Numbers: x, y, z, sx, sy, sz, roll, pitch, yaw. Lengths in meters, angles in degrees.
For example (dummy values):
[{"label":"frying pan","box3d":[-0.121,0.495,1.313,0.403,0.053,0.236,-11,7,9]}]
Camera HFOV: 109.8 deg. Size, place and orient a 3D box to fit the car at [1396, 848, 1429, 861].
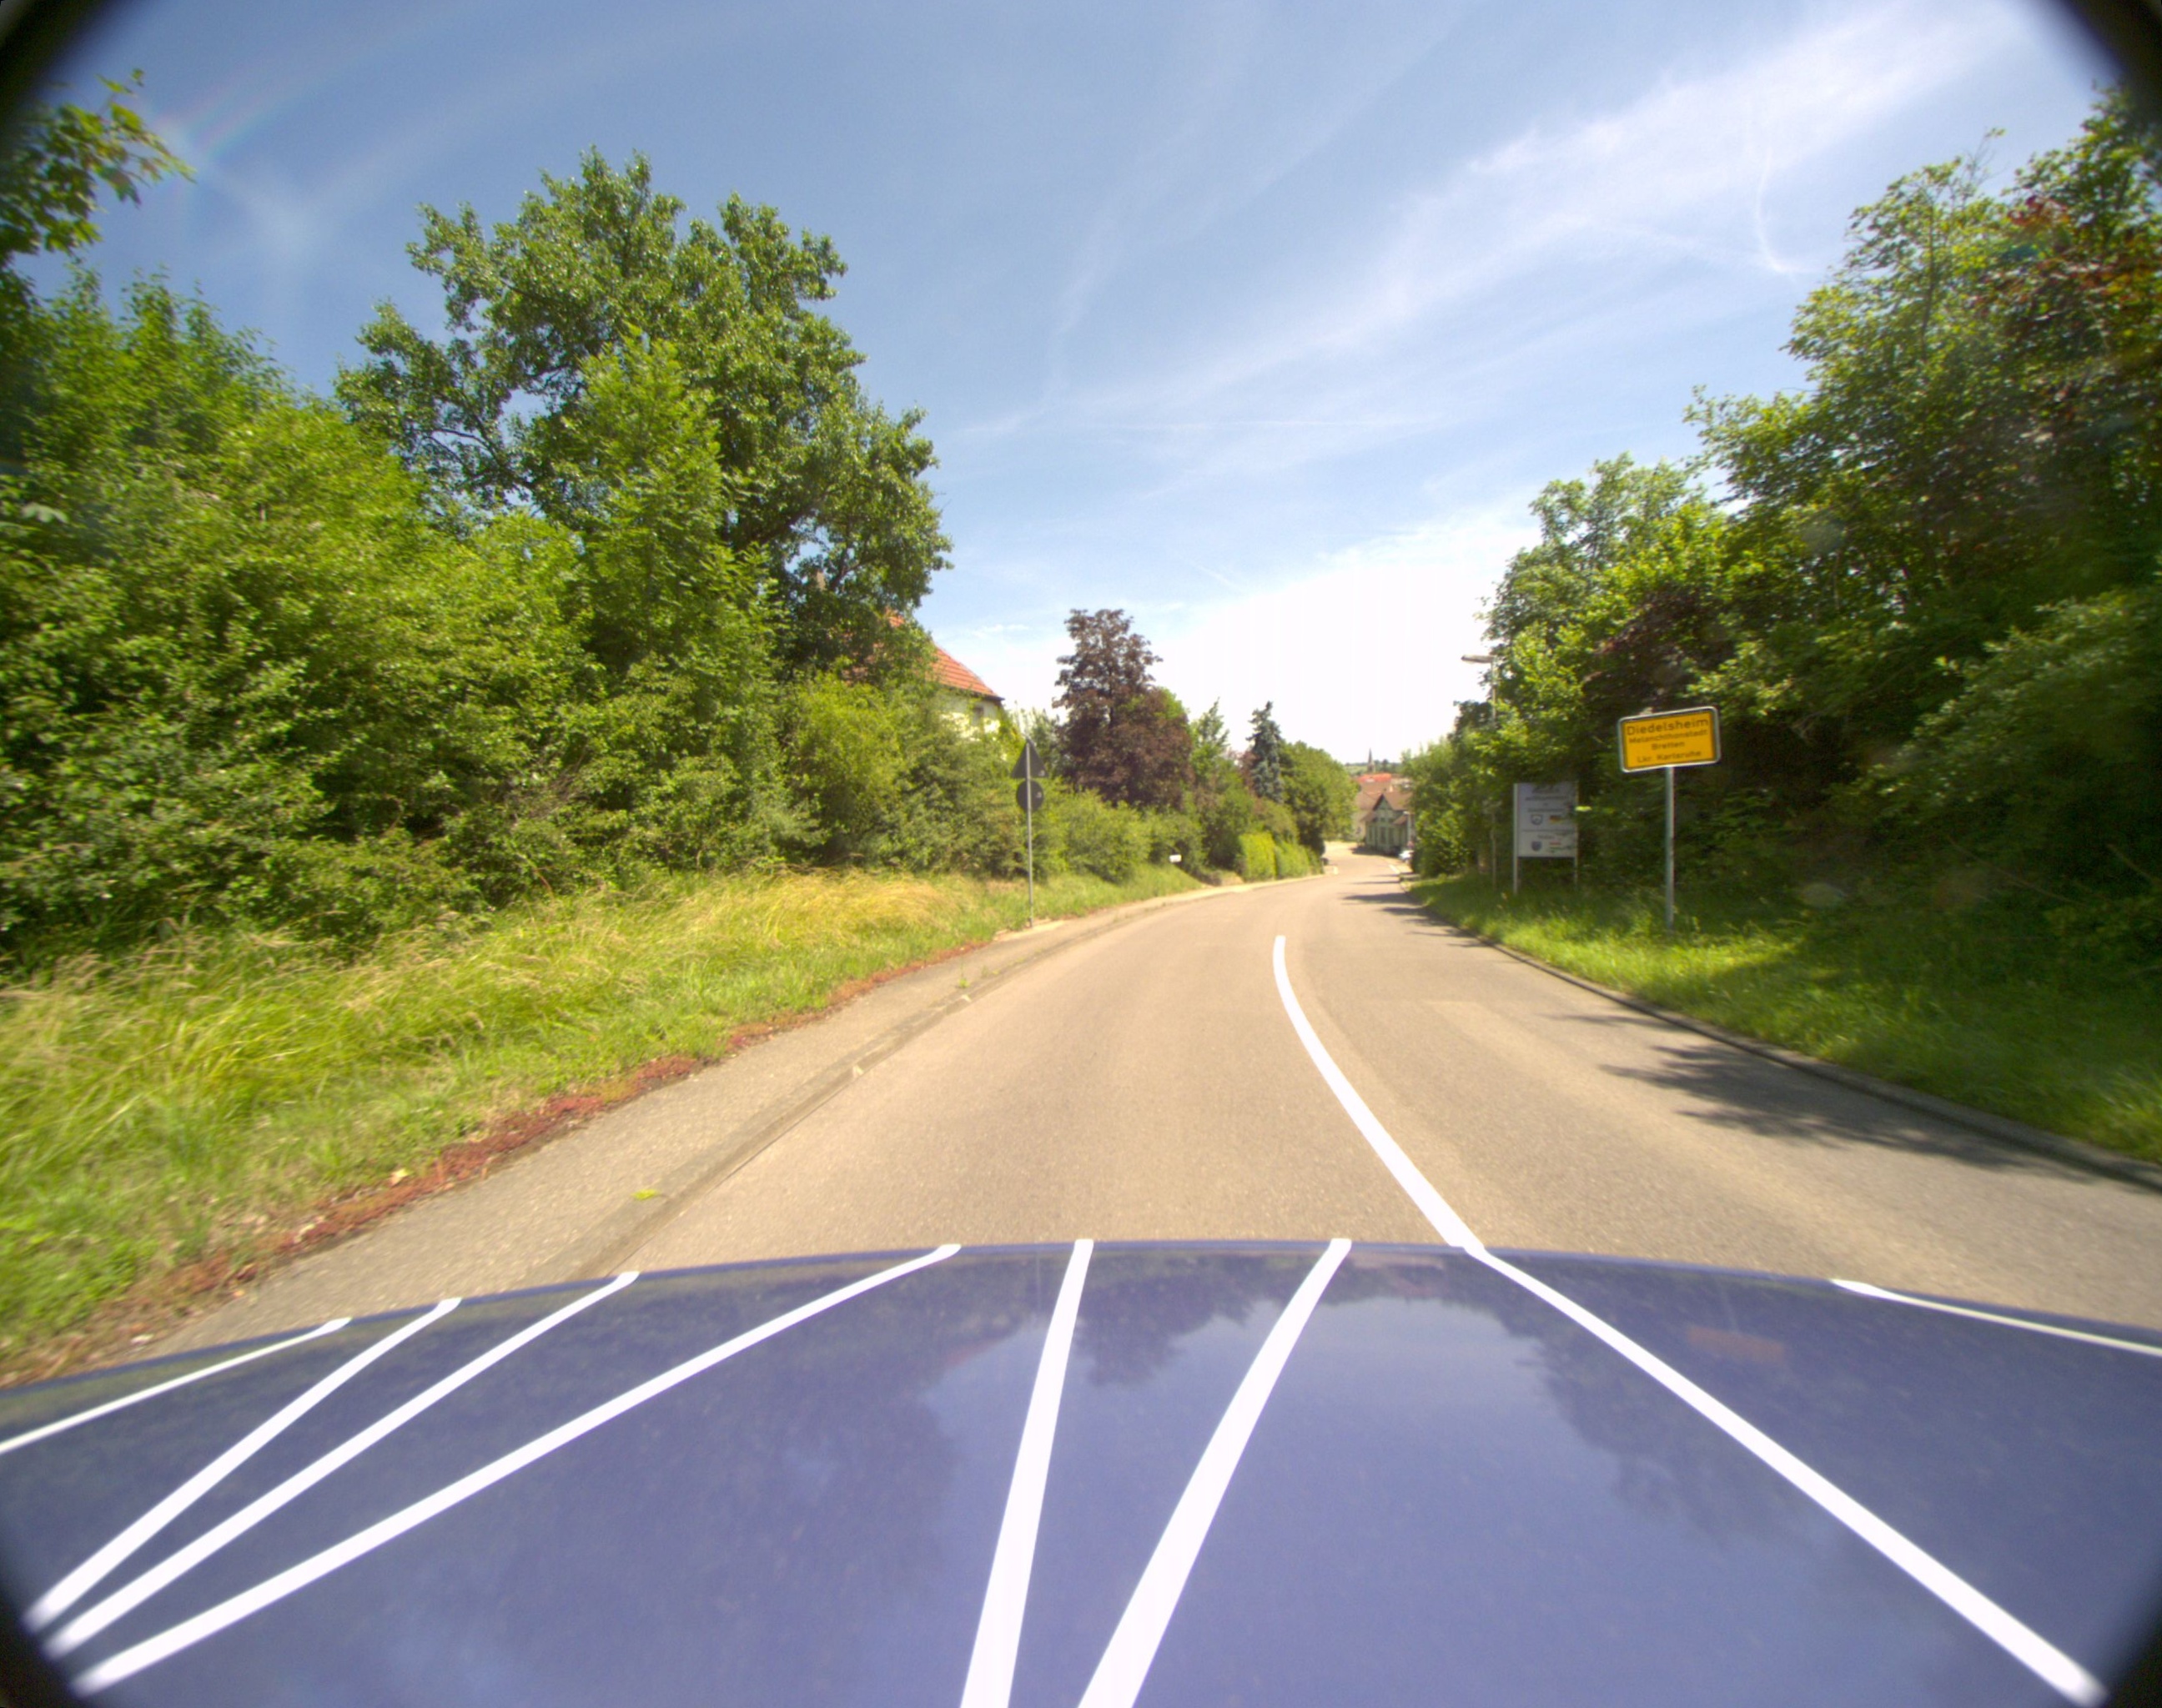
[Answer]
[{"label":"car","box3d":[43.009,0.072,98.667,3.577,1.377,1.516,-5,1,10]}]
